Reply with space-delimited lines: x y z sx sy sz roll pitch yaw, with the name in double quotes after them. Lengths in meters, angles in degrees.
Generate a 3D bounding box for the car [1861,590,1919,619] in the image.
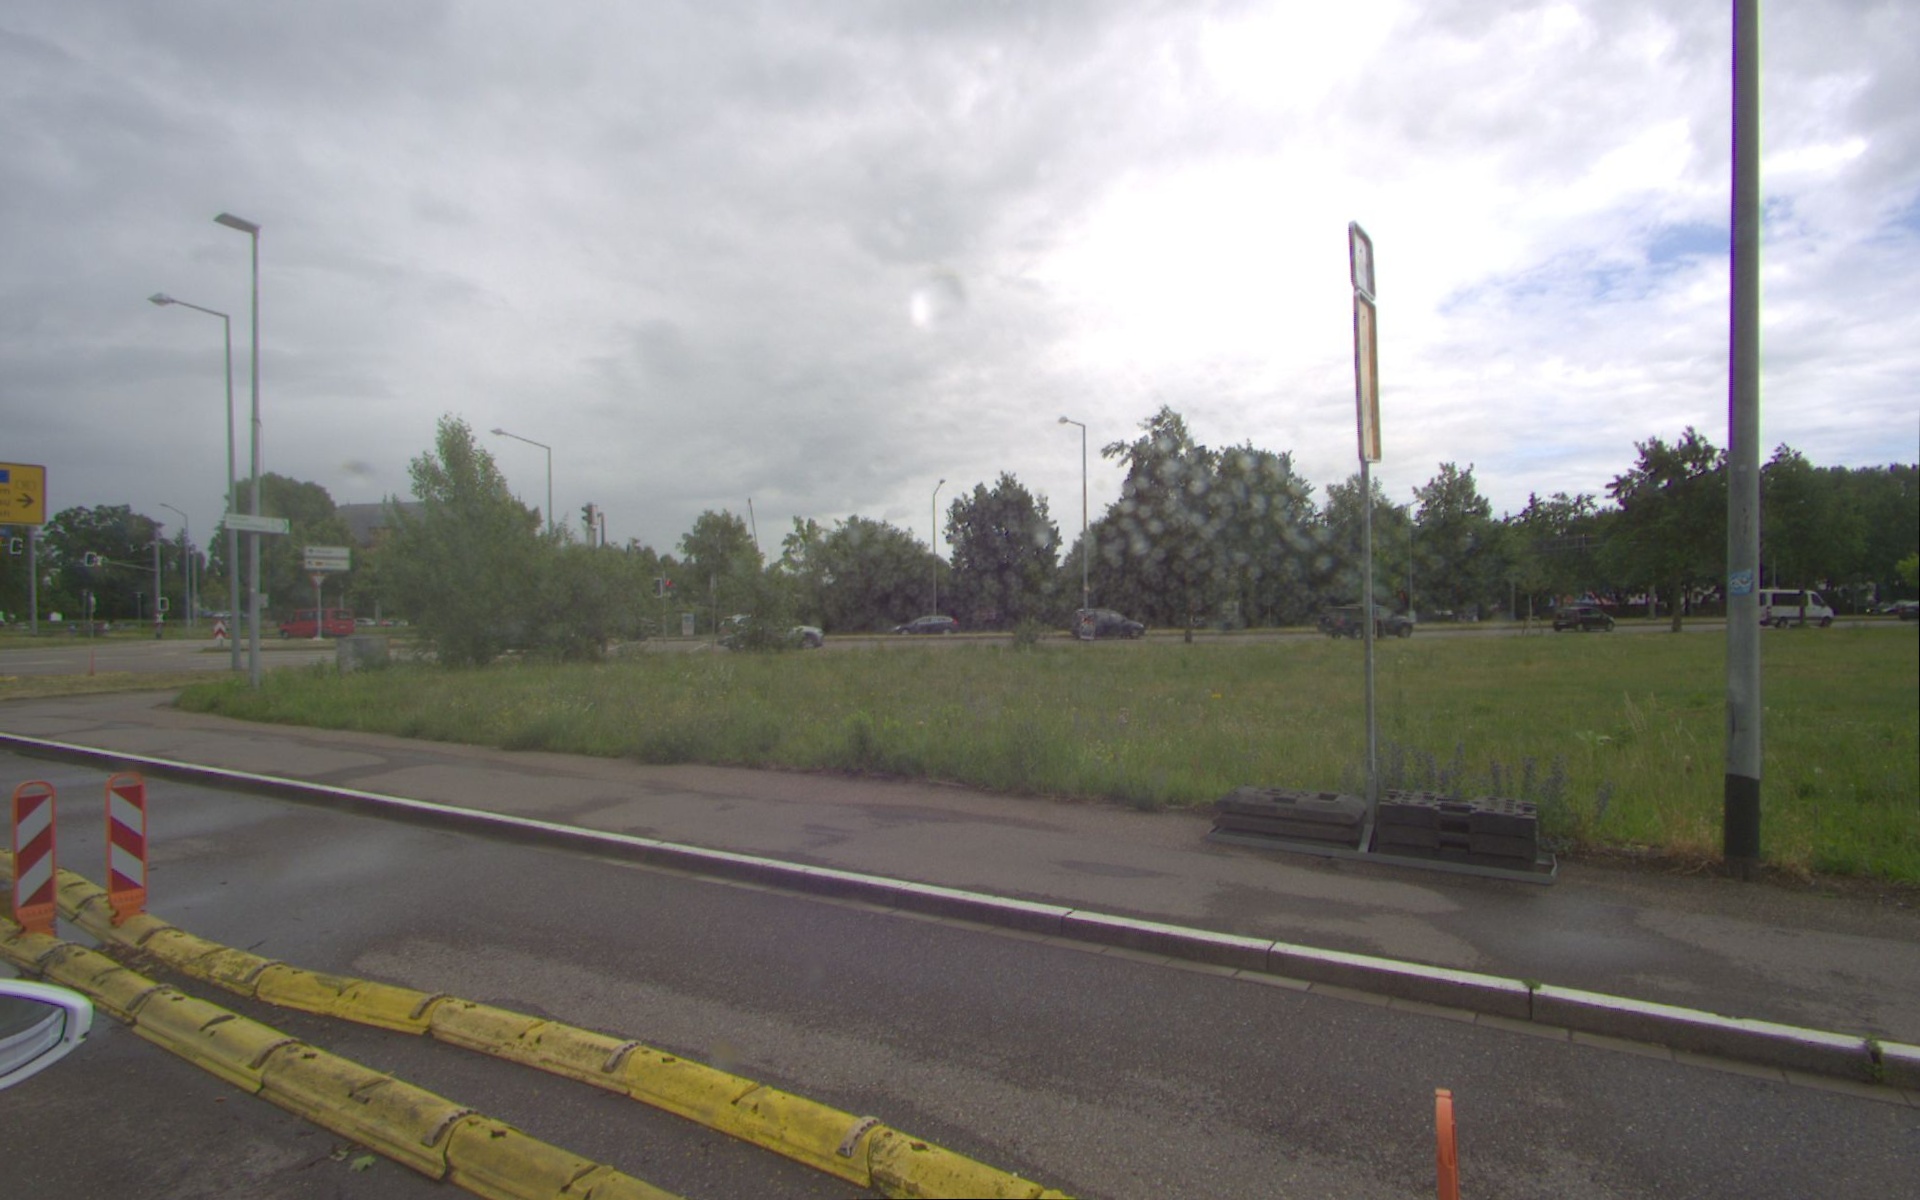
66.165 0.314 70.671 3.928 2.040 1.997 0 0 -15 "car"

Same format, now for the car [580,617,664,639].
-20.776 1.705 61.749 4.667 1.314 1.998 0 0 -12 "car"

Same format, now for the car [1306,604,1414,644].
20.898 1.206 52.360 4.953 1.998 2.219 0 0 -17 "car"

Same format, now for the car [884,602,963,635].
-2.373 1.168 64.649 4.849 2.040 1.998 0 0 -12 "car"

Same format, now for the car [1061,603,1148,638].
7.741 1.080 53.842 4.132 1.837 2.075 0 0 -15 "car"

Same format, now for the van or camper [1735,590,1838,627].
49.046 0.482 59.426 5.453 2.143 1.997 0 0 -16 "van or camper"

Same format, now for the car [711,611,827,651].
-8.057 1.268 42.216 4.460 1.604 1.992 0 0 -25 "car"

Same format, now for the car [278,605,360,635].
-43.057 1.347 67.296 4.804 1.943 2.111 0 0 19 "car"

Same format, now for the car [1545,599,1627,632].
37.250 0.913 59.622 3.927 1.873 1.997 0 0 -14 "car"
